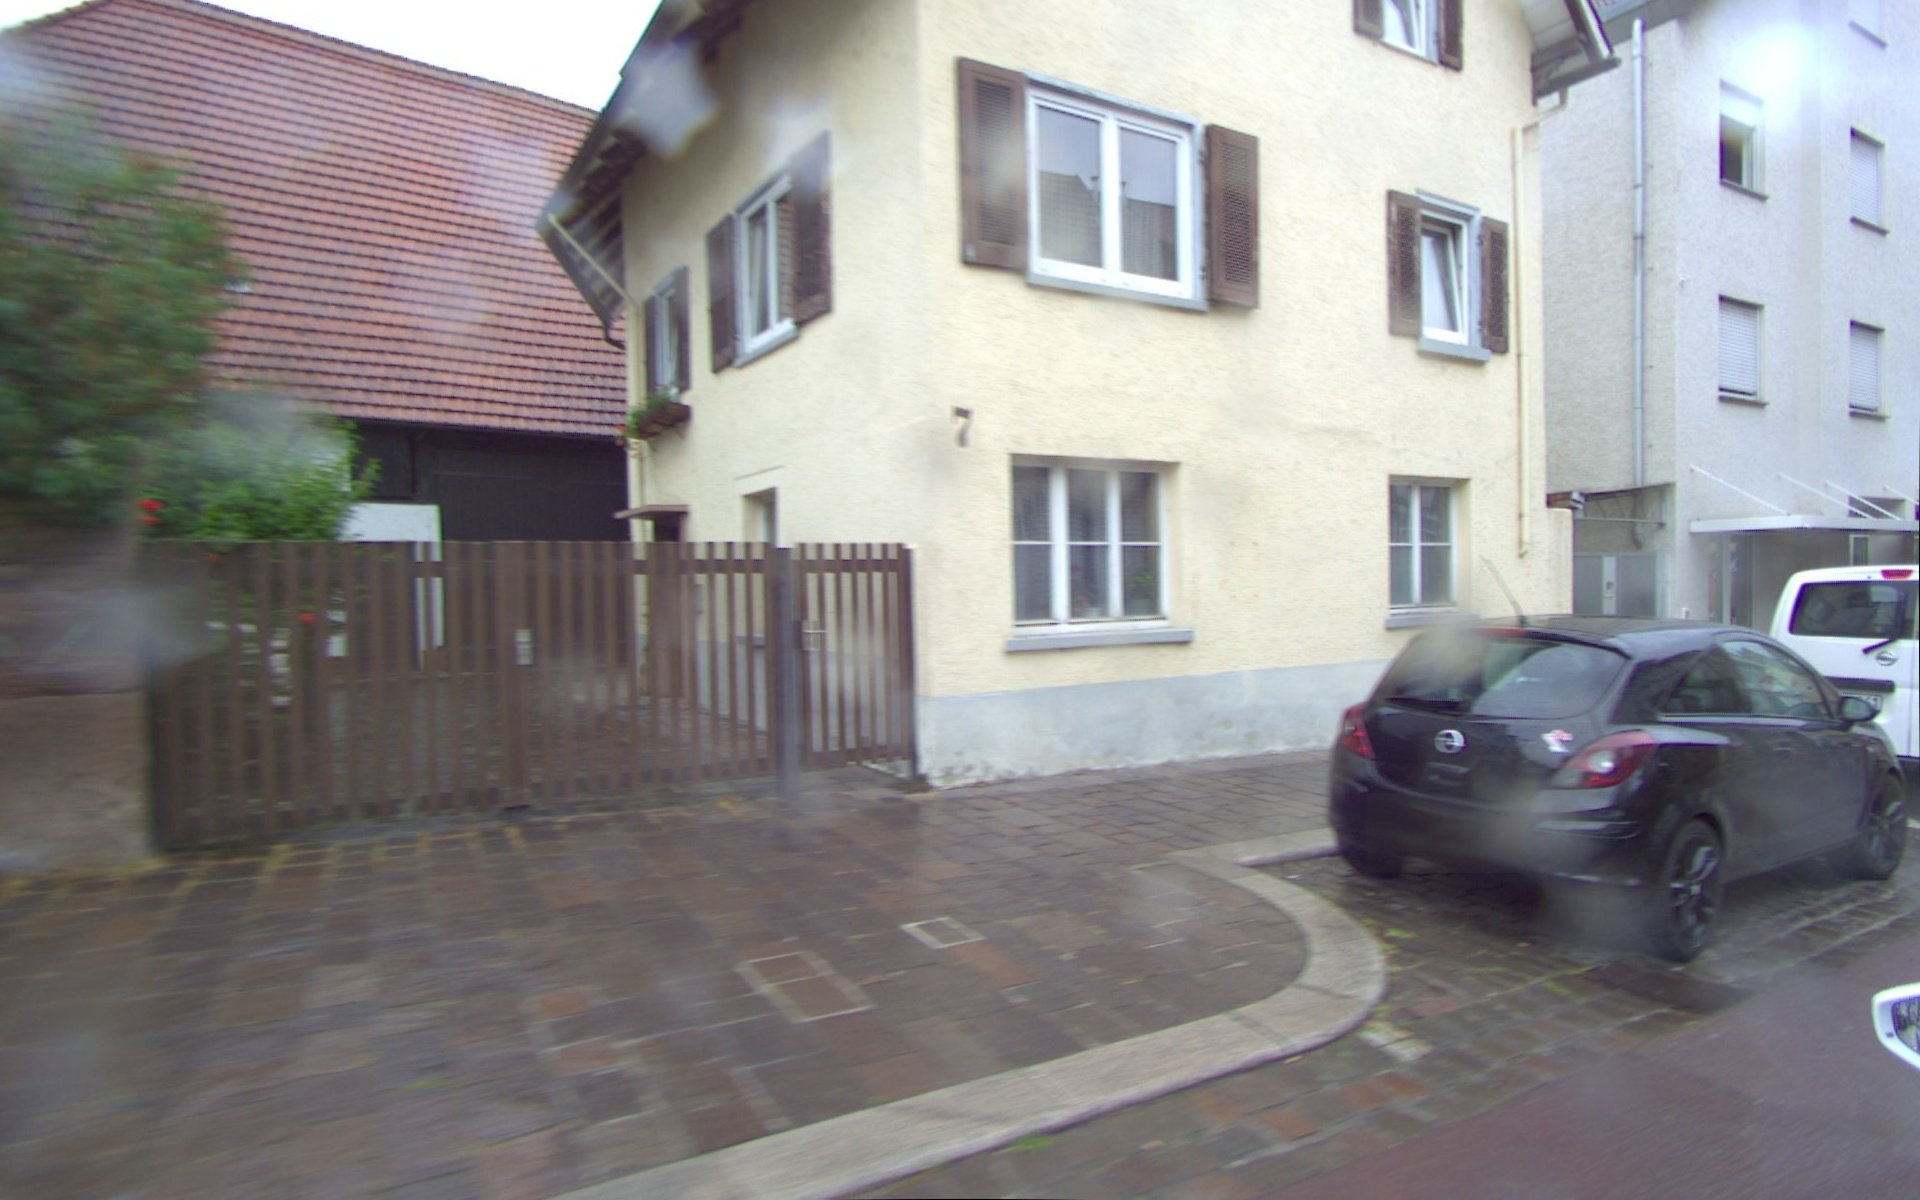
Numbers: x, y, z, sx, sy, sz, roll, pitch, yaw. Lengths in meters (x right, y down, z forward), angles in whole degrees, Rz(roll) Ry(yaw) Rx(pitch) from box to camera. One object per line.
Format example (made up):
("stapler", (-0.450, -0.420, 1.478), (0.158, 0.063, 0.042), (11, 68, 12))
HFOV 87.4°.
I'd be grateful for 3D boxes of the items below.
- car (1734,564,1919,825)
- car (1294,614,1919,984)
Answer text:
("car", (8.509, 0.693, 8.521), (4.380, 1.849, 1.713), (1, 0, -33))
("car", (3.789, 0.803, 5.649), (3.785, 1.407, 1.670), (1, 0, -34))
